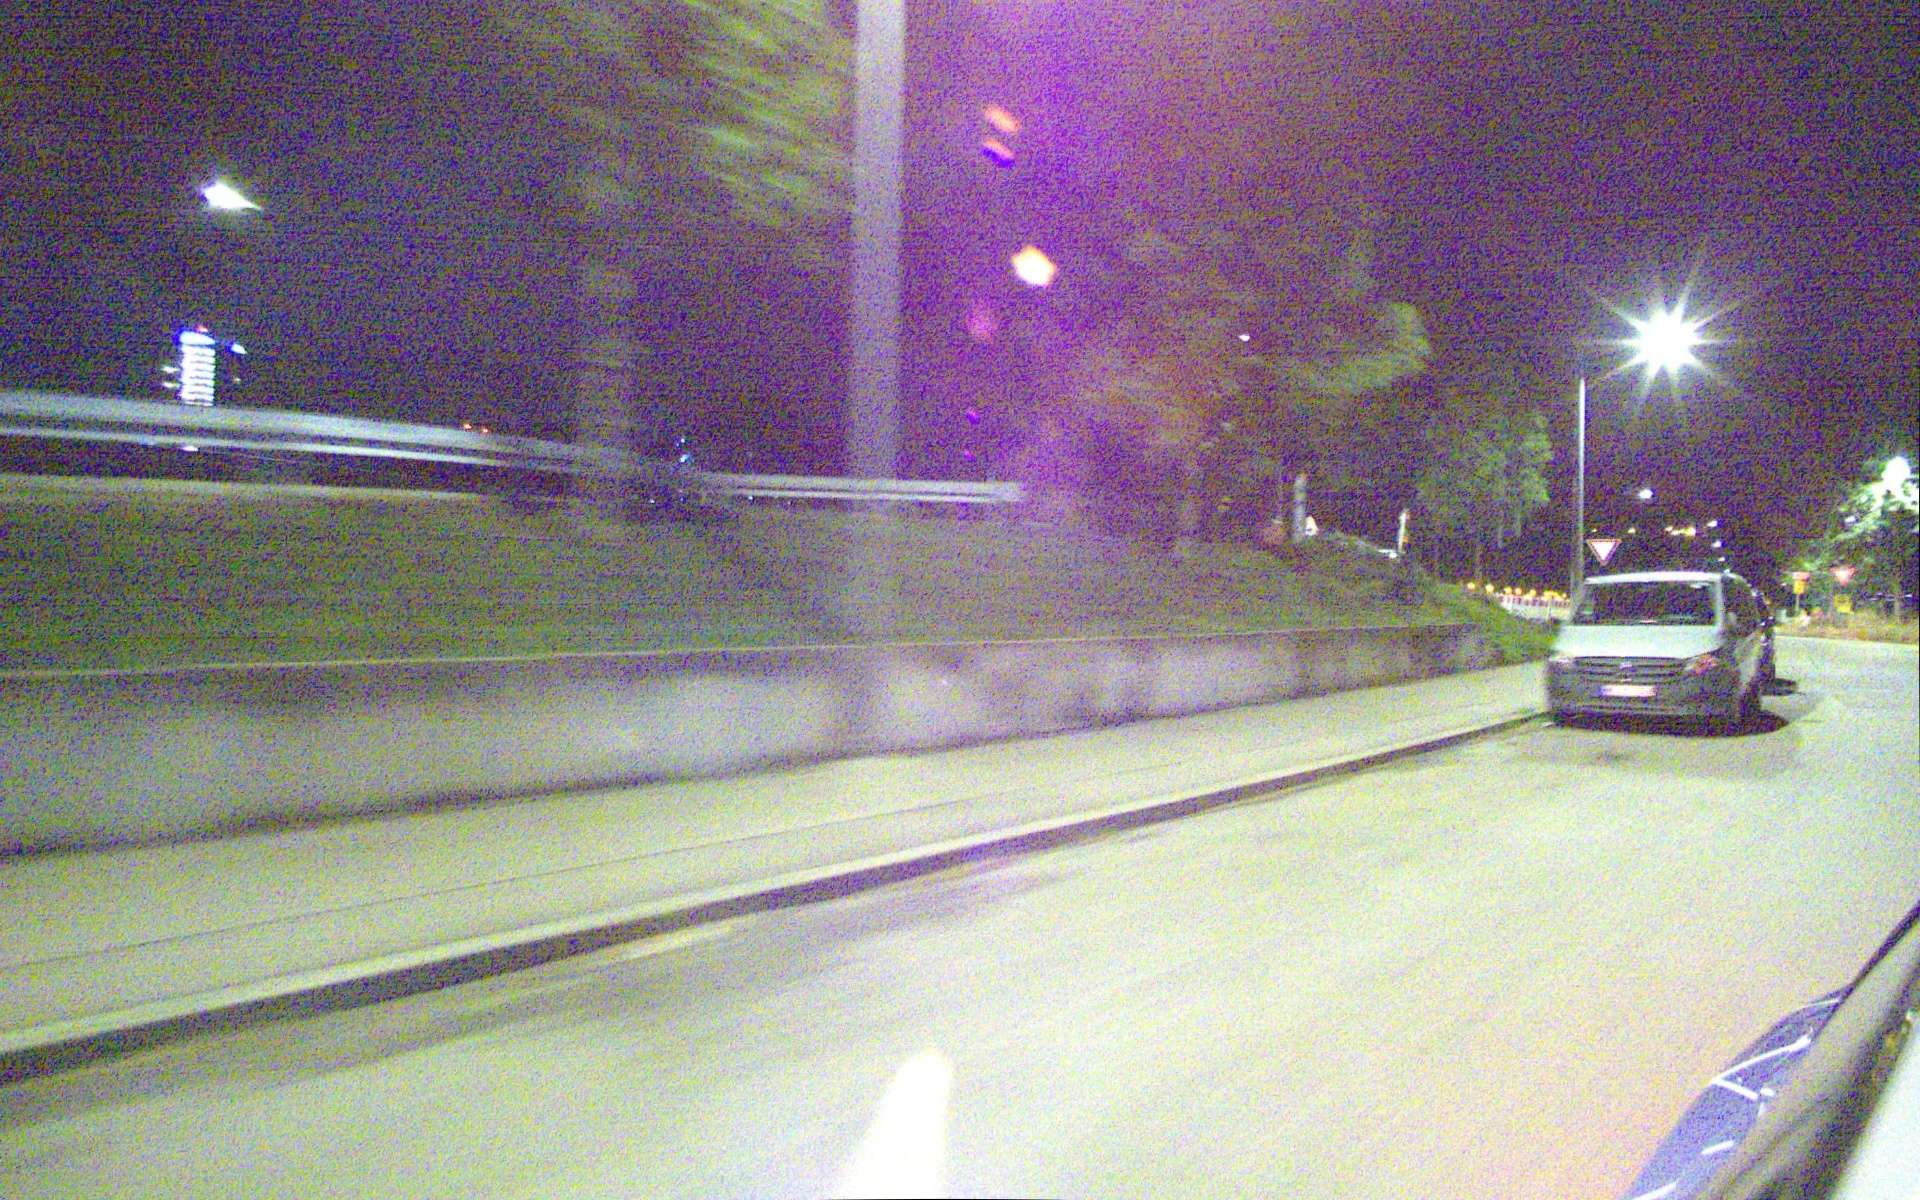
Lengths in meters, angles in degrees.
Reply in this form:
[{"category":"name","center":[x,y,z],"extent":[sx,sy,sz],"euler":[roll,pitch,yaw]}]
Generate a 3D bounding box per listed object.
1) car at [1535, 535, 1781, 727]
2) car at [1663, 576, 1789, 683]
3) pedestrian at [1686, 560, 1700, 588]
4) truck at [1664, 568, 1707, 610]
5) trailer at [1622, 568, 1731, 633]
[{"category":"car","center":[9.420,0.345,13.434],"extent":[1.992,2.039,5.272],"euler":[-1,-1,42]},{"category":"car","center":[14.593,0.480,19.188],"extent":[1.727,1.802,4.254],"euler":[0,0,40]},{"category":"pedestrian","center":[126.826,-4.437,175.002],"extent":[1.737,4.766,2.269],"euler":[1,1,40]},{"category":"truck","center":[67.846,-1.040,94.558],"extent":[3.041,3.668,9.472],"euler":[2,1,37]},{"category":"trailer","center":[24.239,-0.015,34.430],"extent":[1.475,2.039,4.958],"euler":[1,1,17]}]
